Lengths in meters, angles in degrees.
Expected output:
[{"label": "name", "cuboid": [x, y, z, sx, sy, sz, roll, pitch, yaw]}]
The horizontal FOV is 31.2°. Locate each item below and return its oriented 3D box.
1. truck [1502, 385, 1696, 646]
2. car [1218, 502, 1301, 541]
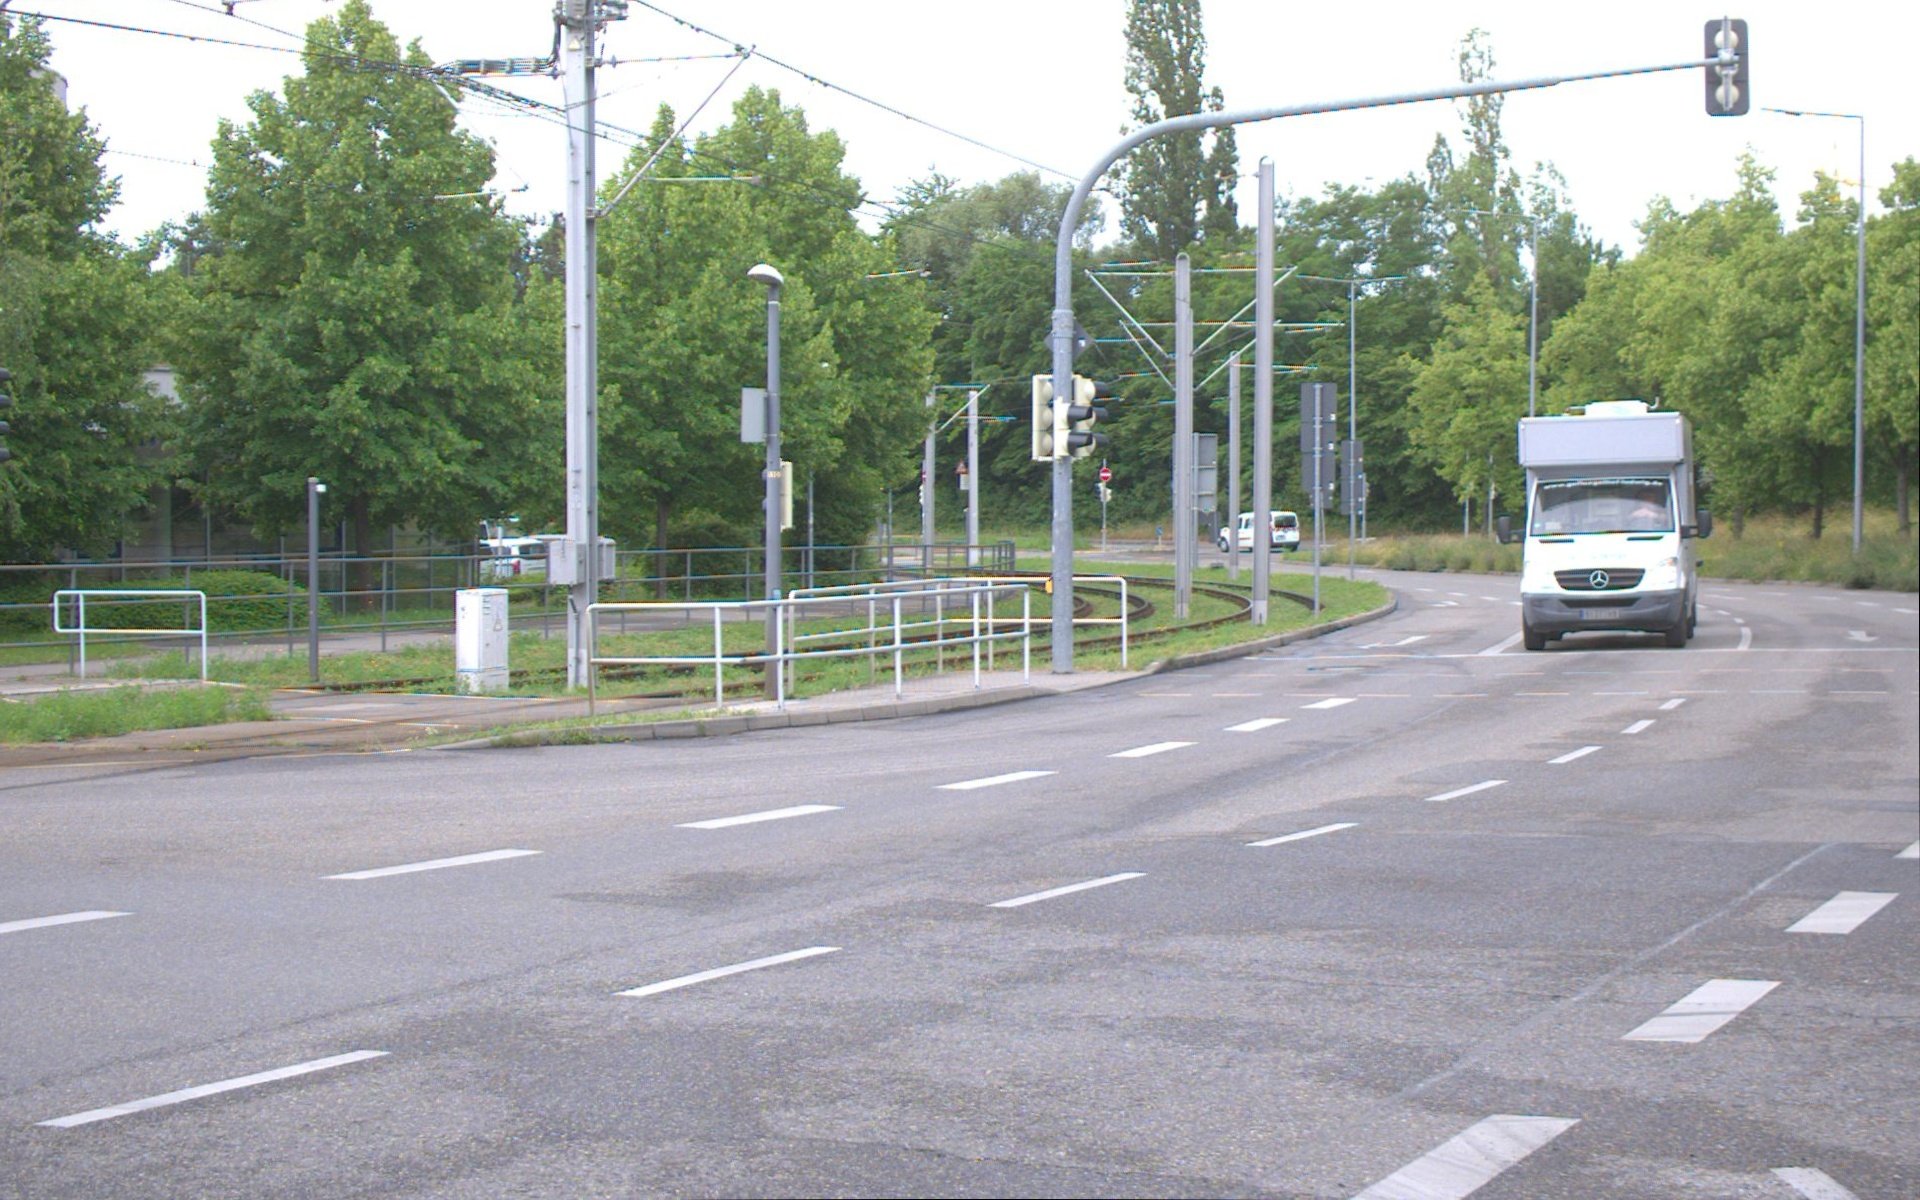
[{"label": "truck", "cuboid": [8.306, -1.065, 44.269, 2.105, 3.000, 6.270, -4, 0, 12]}, {"label": "car", "cuboid": [13.403, -3.507, 153.909, 1.993, 1.722, 3.728, -1, 2, -27]}]
